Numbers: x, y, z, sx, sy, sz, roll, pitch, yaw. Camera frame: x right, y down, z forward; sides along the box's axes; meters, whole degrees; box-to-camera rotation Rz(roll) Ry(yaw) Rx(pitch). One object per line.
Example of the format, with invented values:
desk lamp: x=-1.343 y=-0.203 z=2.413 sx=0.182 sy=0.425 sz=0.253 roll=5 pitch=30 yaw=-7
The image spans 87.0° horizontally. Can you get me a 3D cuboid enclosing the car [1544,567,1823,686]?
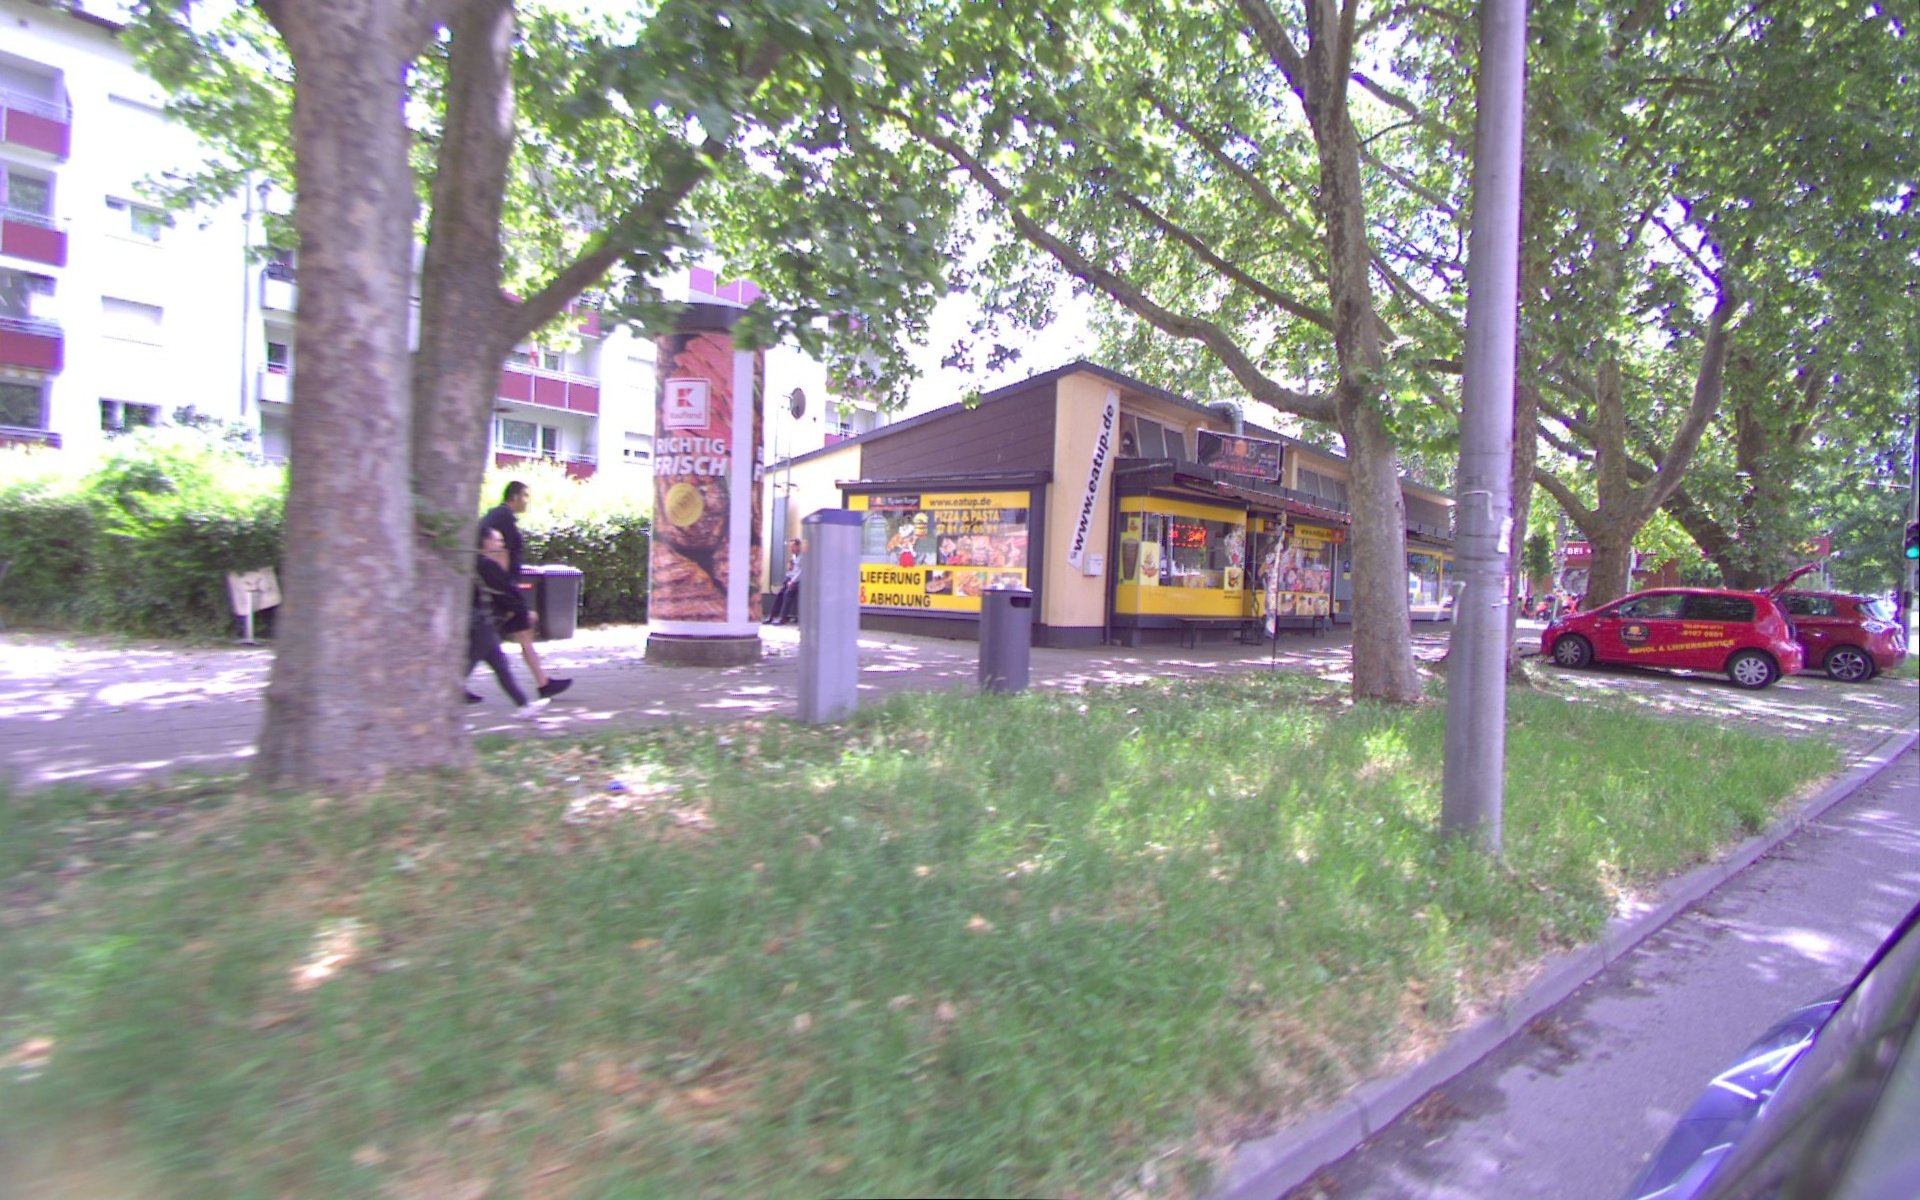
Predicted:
car: x=11.751 y=0.350 z=16.567 sx=1.584 sy=1.532 sz=3.412 roll=0 pitch=5 yaw=-44

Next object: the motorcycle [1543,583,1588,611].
motorcycle: x=27.064 y=-0.149 z=45.279 sx=0.726 sy=1.210 sz=2.137 roll=2 pitch=2 yaw=3

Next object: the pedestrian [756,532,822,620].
pedestrian: x=-3.131 y=-0.437 z=18.524 sx=0.750 sy=1.554 sz=0.894 roll=2 pitch=1 yaw=42

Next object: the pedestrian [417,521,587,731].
pedestrian: x=-3.439 y=0.171 z=7.613 sx=1.010 sy=1.465 sz=0.626 roll=0 pitch=1 yaw=-41

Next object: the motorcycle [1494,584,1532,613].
motorcycle: x=24.374 y=-0.075 z=44.681 sx=0.728 sy=1.210 sz=2.134 roll=2 pitch=2 yaw=8

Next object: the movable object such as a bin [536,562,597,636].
movable object such as a bin: x=-5.834 y=-0.025 z=14.992 sx=0.637 sy=1.046 sz=0.624 roll=0 pitch=2 yaw=-44

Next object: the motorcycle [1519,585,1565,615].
motorcycle: x=25.170 y=-0.025 z=43.818 sx=0.726 sy=1.210 sz=2.138 roll=2 pitch=2 yaw=1

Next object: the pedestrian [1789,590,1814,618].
pedestrian: x=41.505 y=0.202 z=49.925 sx=0.661 sy=1.281 sz=0.678 roll=2 pitch=6 yaw=-37

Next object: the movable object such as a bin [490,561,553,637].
movable object such as a bin: x=-6.294 y=-0.023 z=14.522 sx=0.637 sy=1.046 sz=0.624 roll=0 pitch=2 yaw=-44

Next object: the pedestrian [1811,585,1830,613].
pedestrian: x=49.237 y=-0.045 z=57.892 sx=0.643 sy=1.557 sz=0.725 roll=1 pitch=2 yaw=-45

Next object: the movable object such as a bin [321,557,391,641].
movable object such as a bin: x=-7.647 y=-0.022 z=12.814 sx=0.637 sy=1.029 sz=0.624 roll=0 pitch=2 yaw=-44

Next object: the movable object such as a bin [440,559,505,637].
movable object such as a bin: x=-6.748 y=-0.039 z=14.008 sx=0.637 sy=1.046 sz=0.624 roll=0 pitch=2 yaw=-44

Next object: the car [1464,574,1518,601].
car: x=28.103 y=-0.647 z=53.540 sx=1.743 sy=1.359 sz=3.437 roll=3 pitch=2 yaw=42

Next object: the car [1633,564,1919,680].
car: x=15.277 y=0.298 z=18.949 sx=1.699 sy=1.630 sz=4.044 roll=-1 pitch=6 yaw=-38

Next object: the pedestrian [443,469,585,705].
pedestrian: x=-3.857 y=-0.127 z=8.751 sx=0.925 sy=1.906 sz=0.745 roll=0 pitch=4 yaw=-41
